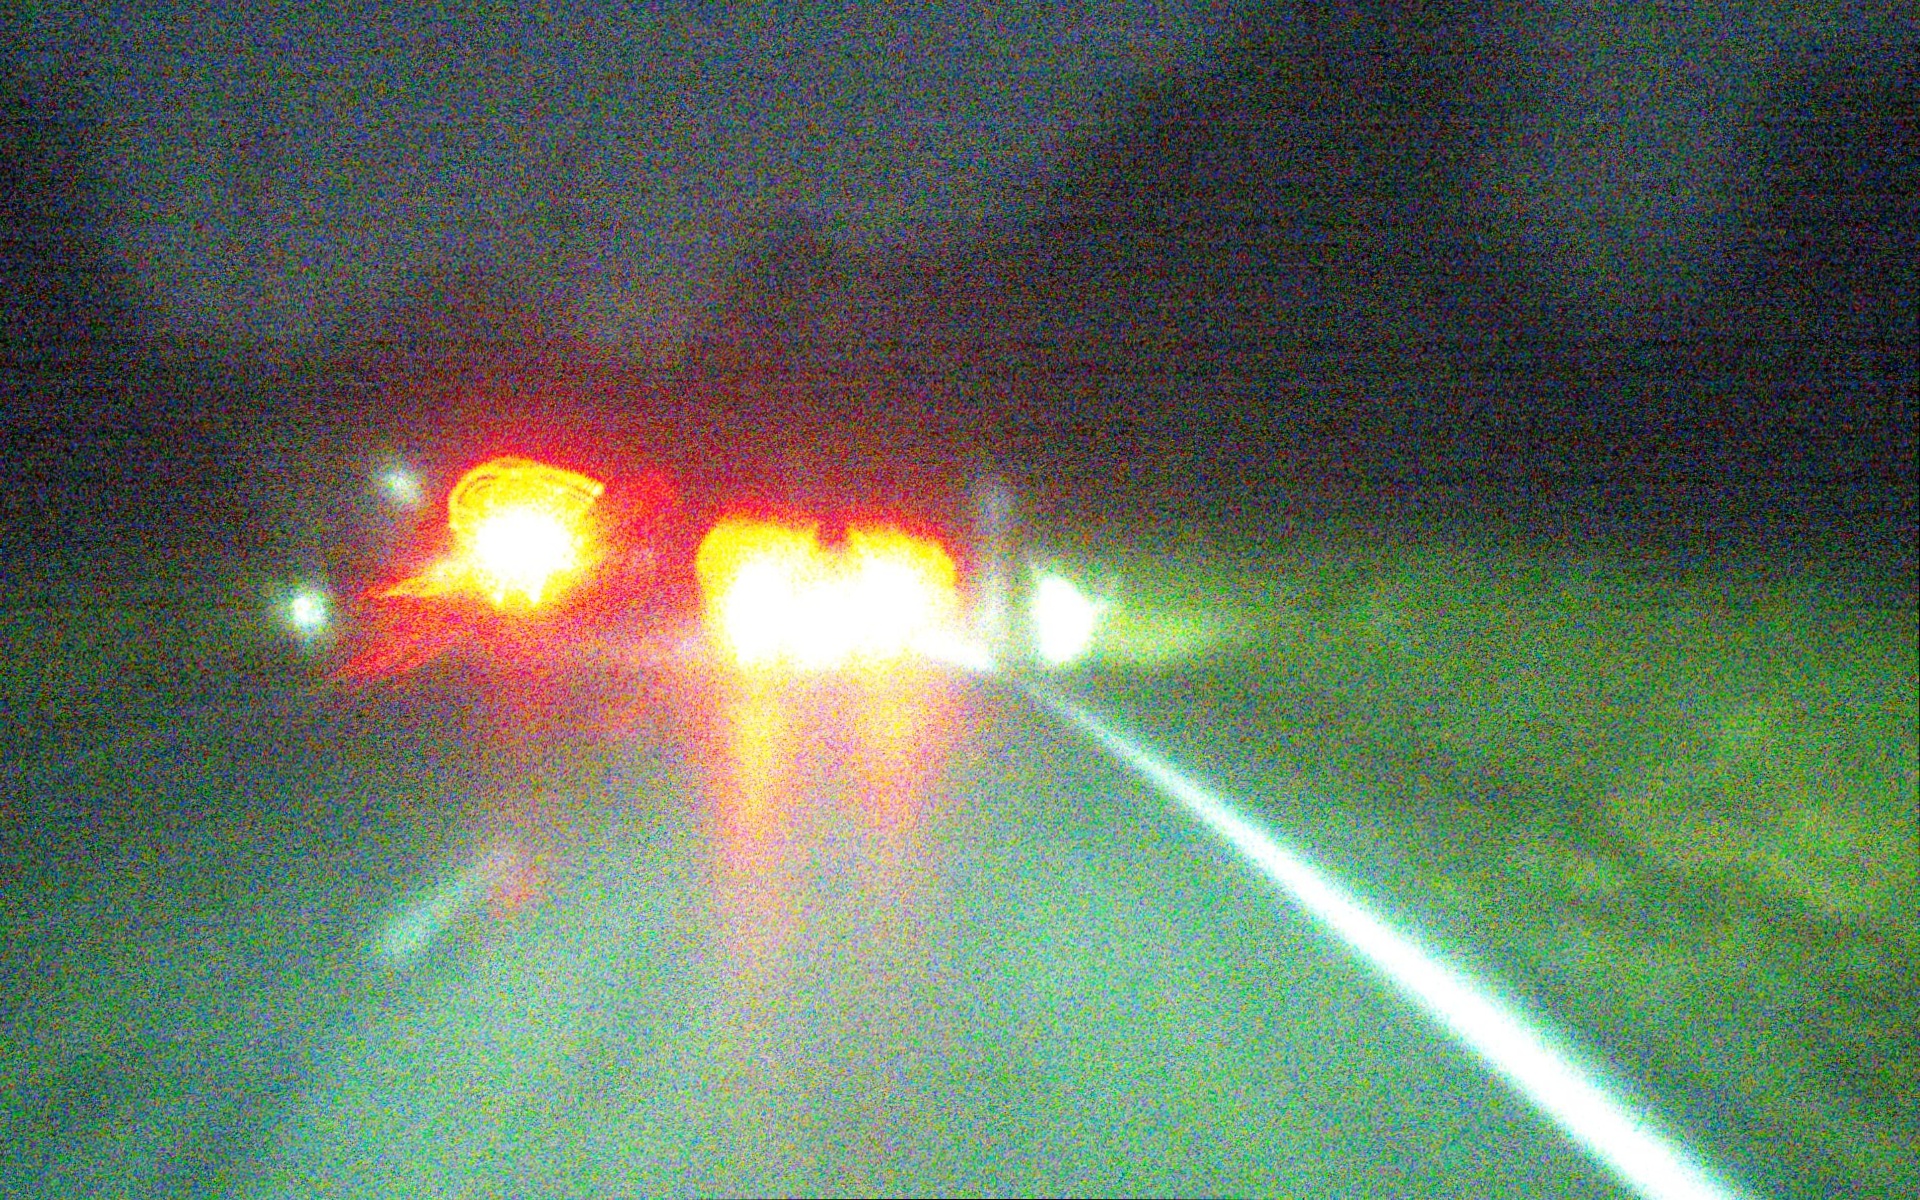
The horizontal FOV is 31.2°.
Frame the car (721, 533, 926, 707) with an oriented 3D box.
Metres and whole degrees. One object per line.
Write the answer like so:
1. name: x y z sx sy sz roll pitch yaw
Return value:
1. car: -1.447 0.149 36.065 1.993 1.622 4.985 0 2 -3
